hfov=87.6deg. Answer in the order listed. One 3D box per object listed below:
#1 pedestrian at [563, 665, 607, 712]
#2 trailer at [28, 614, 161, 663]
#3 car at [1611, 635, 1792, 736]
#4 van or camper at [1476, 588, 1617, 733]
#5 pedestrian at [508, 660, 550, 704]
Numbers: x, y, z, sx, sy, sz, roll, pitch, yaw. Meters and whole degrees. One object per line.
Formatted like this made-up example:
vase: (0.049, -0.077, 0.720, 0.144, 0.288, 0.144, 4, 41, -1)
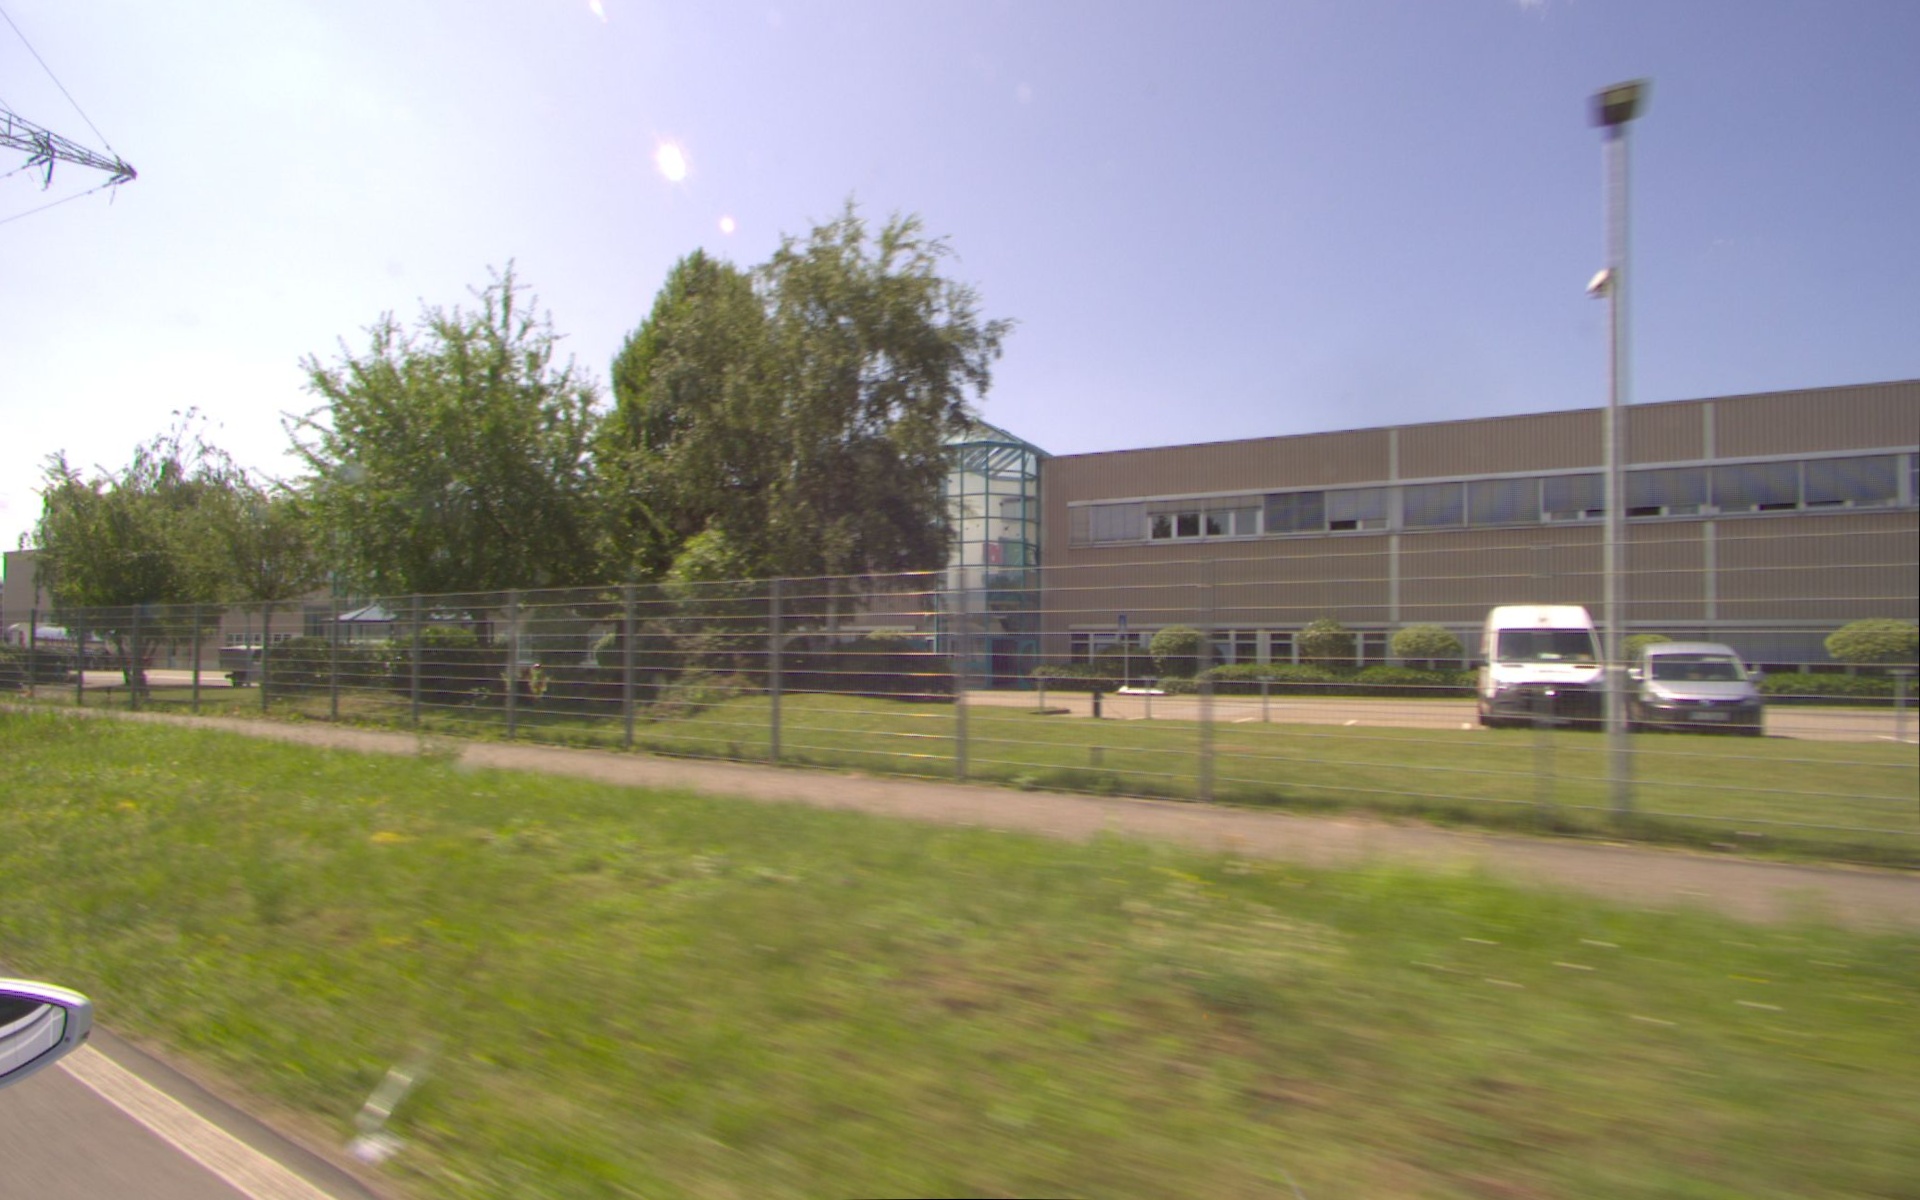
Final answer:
pedestrian: (-7.434, 1.749, 19.858, 0.502, 0.904, 0.666, 0, -3, 17)
trailer: (-70.063, 3.079, 80.955, 12.040, 3.783, 3.591, -1, -1, 26)
car: (13.726, 1.549, 18.813, 1.968, 1.660, 3.990, -1, -3, 26)
van or camper: (11.874, 1.367, 20.642, 1.968, 2.547, 5.780, -1, -6, 25)
pedestrian: (-8.983, 1.698, 20.867, 0.657, 0.904, 0.509, -1, -3, 31)
